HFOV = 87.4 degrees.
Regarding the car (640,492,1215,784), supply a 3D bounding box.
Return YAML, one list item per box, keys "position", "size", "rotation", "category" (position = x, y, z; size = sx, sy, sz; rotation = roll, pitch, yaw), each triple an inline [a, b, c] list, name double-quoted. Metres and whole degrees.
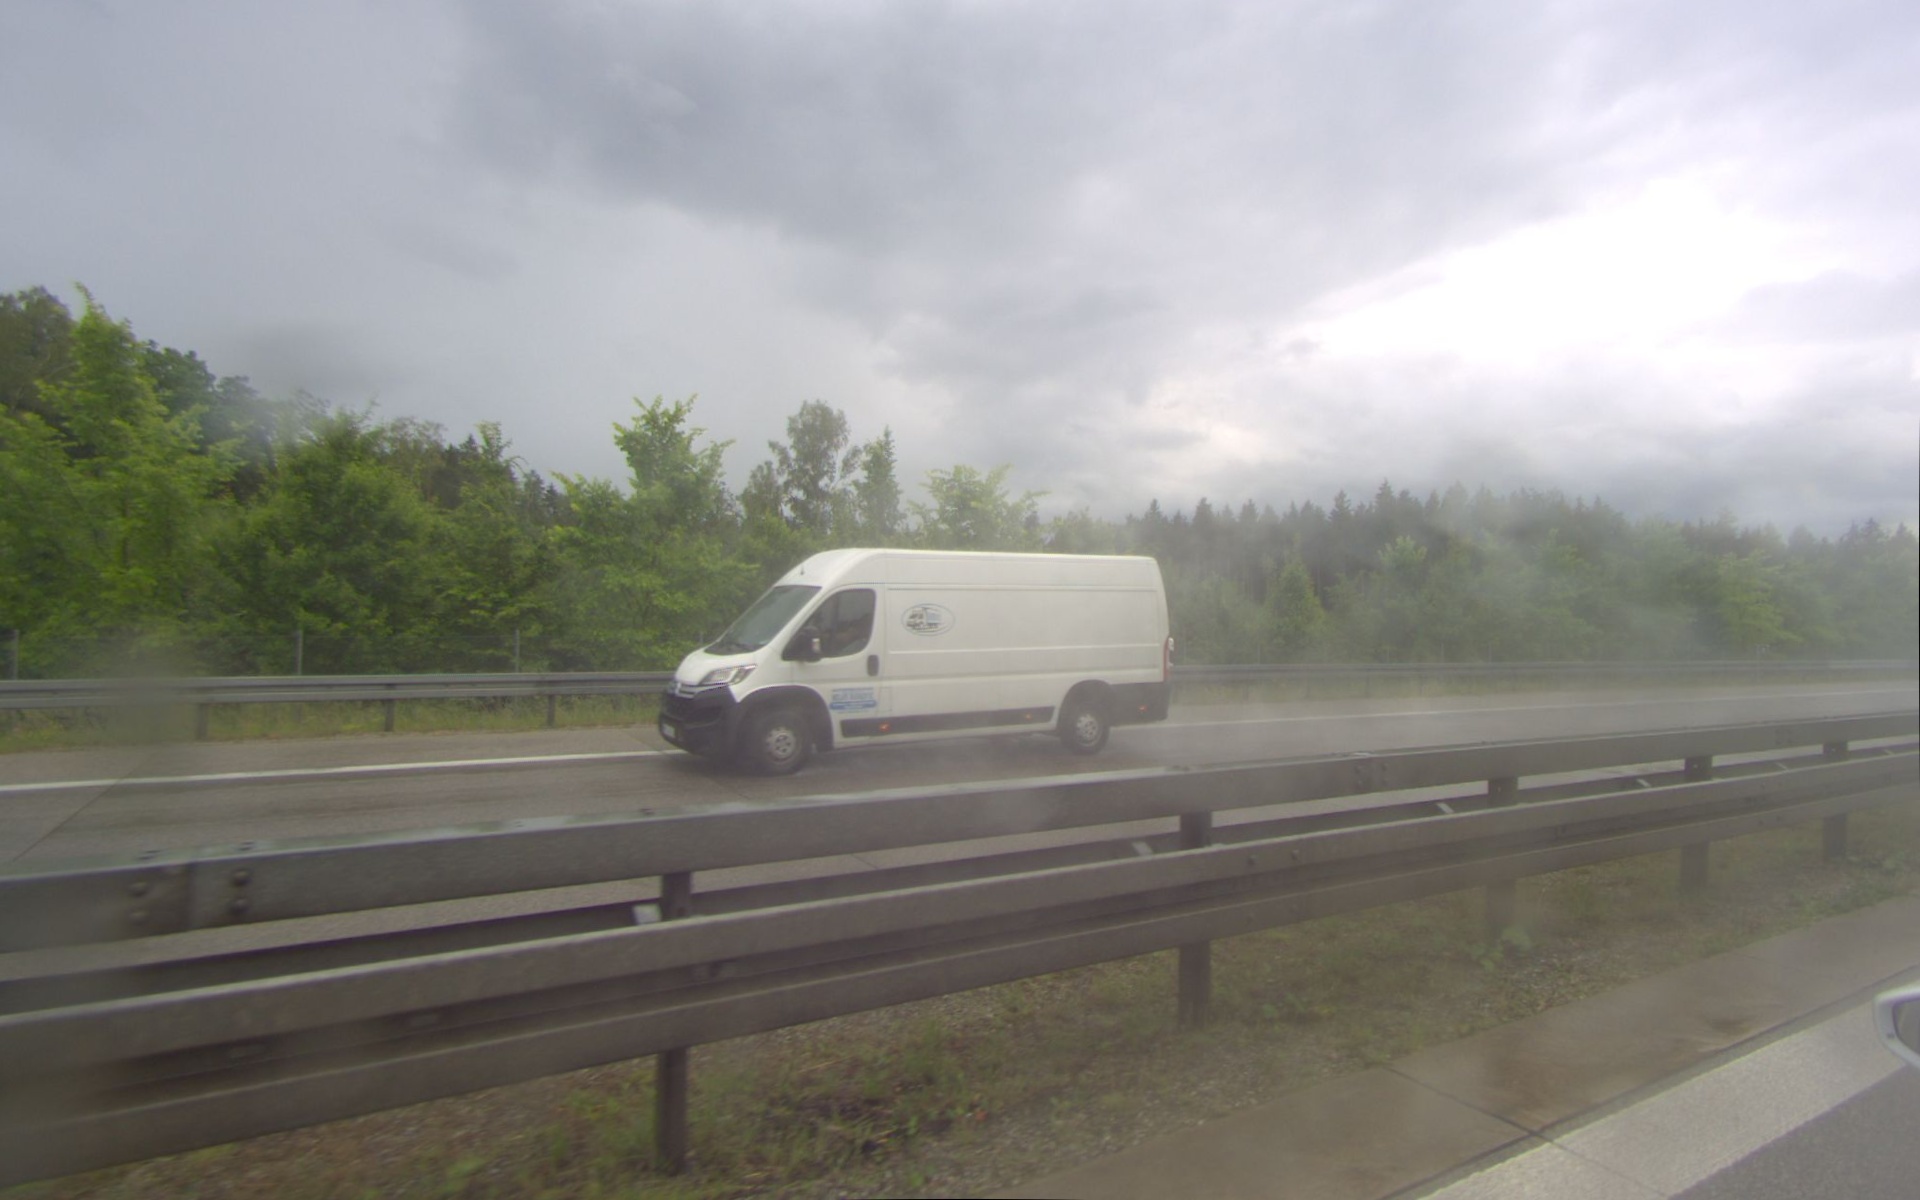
- position: [-0.189, 0.447, 12.348]
  size: [6.795, 2.785, 2.339]
  rotation: [1, -1, -31]
  category: "car"
